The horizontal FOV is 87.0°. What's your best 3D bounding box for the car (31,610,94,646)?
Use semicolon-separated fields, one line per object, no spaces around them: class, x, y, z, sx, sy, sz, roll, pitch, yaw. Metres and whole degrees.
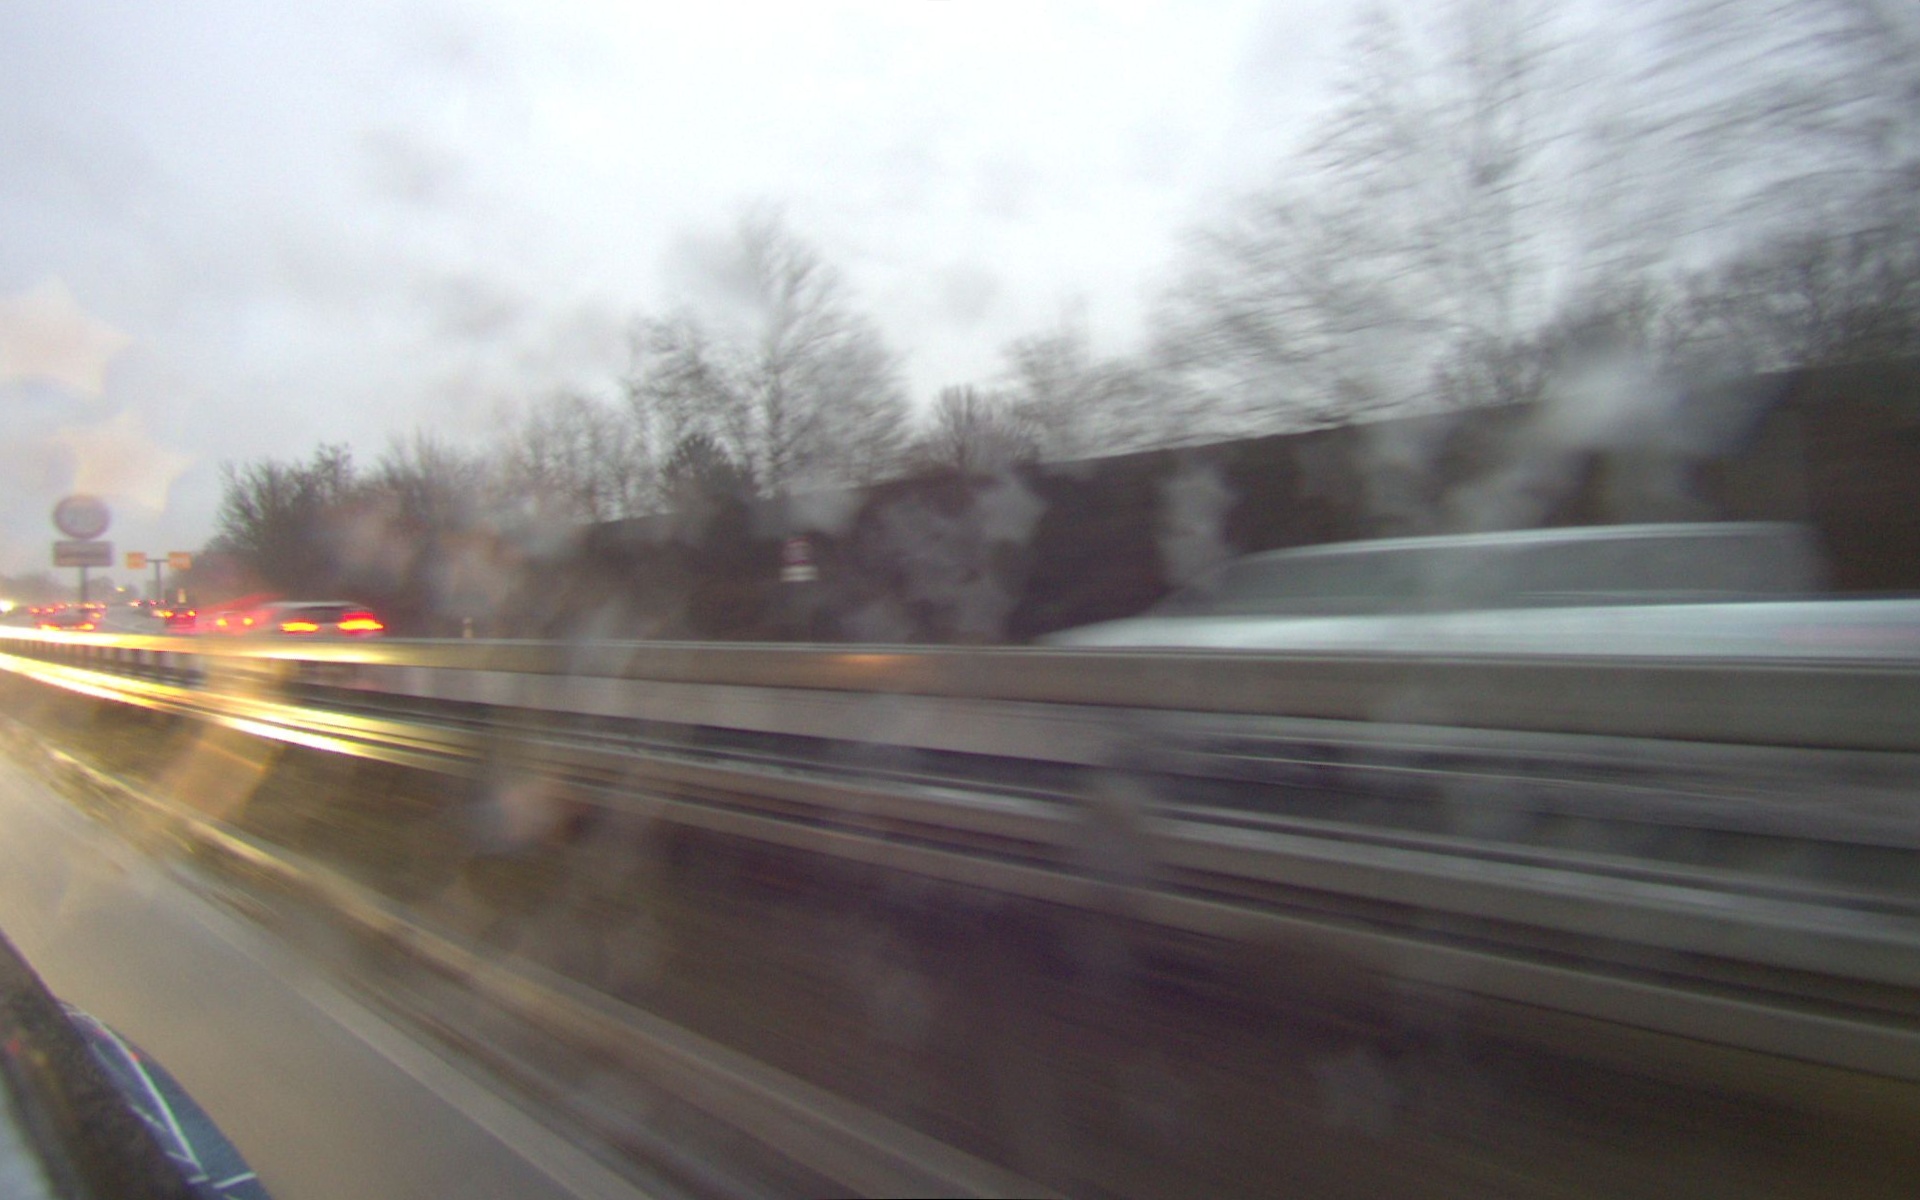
car;-40.272;1.221;45.374;4.000;1.452;1.735;0;1;43

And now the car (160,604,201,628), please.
car;-62.551;1.266;81.154;4.788;1.846;1.859;0;1;44

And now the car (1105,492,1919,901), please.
car;3.633;0.420;6.480;5.117;1.844;1.966;0;1;41

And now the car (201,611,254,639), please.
car;-44.251;1.485;61.119;4.113;1.550;1.843;0;1;43

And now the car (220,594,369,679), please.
car;-14.887;0.740;22.572;3.998;1.696;1.749;0;1;41

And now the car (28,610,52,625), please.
car;-102.045;1.938;112.218;4.137;1.521;1.763;0;1;44
